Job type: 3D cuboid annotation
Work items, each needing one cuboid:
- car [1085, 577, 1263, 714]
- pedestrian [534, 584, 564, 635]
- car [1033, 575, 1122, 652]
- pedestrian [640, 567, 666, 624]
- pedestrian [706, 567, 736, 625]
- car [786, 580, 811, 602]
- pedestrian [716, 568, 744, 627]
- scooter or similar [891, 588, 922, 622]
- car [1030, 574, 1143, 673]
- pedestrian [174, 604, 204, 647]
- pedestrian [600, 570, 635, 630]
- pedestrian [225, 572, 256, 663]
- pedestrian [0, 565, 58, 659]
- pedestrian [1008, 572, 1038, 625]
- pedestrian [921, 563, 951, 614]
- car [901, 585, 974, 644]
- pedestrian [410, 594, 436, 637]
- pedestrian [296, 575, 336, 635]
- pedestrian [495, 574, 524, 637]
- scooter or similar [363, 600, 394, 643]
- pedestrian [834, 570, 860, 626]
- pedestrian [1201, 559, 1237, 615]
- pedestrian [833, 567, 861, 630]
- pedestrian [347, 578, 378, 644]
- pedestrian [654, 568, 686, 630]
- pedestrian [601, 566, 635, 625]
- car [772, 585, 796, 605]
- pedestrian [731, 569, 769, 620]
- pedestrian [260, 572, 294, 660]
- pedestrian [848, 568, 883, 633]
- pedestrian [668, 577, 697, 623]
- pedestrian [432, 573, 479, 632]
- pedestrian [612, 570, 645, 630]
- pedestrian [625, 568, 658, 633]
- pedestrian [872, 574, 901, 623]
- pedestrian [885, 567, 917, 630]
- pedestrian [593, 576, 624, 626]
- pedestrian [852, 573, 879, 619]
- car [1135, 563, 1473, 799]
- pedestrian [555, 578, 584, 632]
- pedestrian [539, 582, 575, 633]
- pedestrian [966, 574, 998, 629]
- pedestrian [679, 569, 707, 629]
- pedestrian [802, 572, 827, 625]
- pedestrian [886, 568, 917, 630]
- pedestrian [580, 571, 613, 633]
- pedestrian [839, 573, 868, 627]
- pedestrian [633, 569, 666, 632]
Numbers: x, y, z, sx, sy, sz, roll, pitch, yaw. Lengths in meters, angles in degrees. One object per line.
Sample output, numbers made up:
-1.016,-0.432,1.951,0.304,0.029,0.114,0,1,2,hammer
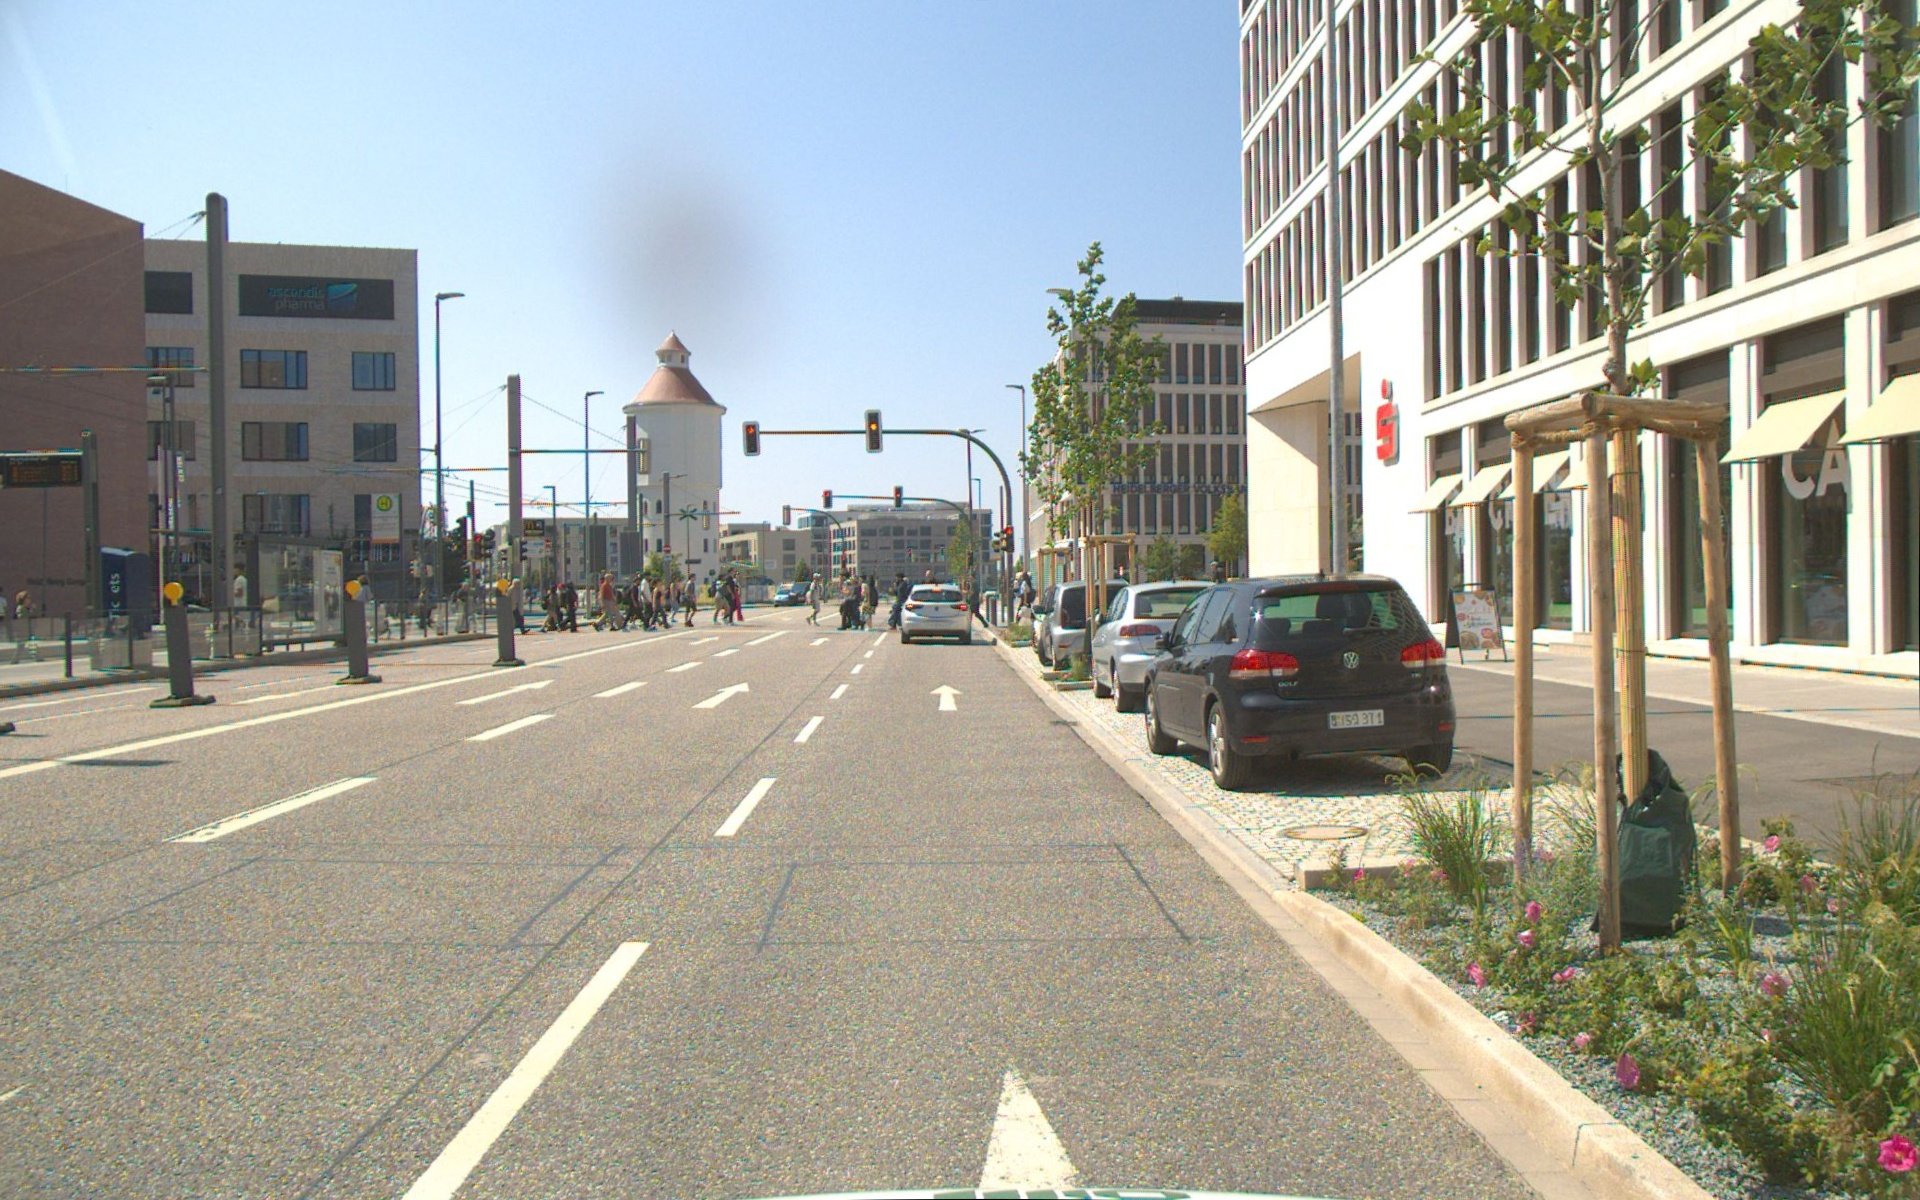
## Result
2.547,0.481,20.470,1.573,1.411,3.814,-4,1,-1,car
-13.277,0.291,53.432,0.713,1.603,0.642,-2,1,4,pedestrian
2.315,0.225,33.281,1.400,1.414,3.999,-2,1,-1,car
-10.463,-0.153,56.434,0.719,1.923,0.714,0,0,4,pedestrian
-8.121,-0.151,56.208,0.824,1.923,0.692,-2,1,0,pedestrian
-11.565,-0.643,118.531,1.555,1.557,3.691,-1,0,-2,car
-7.679,-0.079,55.206,0.750,1.923,0.692,-2,1,0,pedestrian
-1.833,0.163,56.445,0.933,1.137,0.765,-2,1,-11,scooter or similar
2.130,0.357,28.549,1.525,1.497,3.469,-4,1,-1,car
-29.569,0.961,63.429,0.696,1.599,0.890,-2,1,-2,pedestrian
-11.171,-0.012,53.894,0.869,1.923,0.797,-2,1,4,pedestrian
-14.691,0.349,33.793,0.542,1.851,0.596,-1,0,-22,pedestrian
-18.719,0.239,33.146,0.794,1.851,0.825,0,0,-1,pedestrian
2.010,-0.051,52.554,0.750,1.648,0.692,-2,1,16,pedestrian
-0.815,-0.392,56.265,0.872,1.675,0.794,-2,1,-11,pedestrian
-0.535,0.368,41.894,1.735,1.419,3.532,0,0,1,car
-21.506,0.629,66.261,0.659,1.710,0.692,-1,1,40,pedestrian
-21.325,0.166,54.781,0.958,1.923,0.827,-1,0,0,pedestrian
-13.977,0.172,51.317,0.623,1.923,0.796,-2,1,0,pedestrian
-15.032,0.545,42.776,0.494,1.077,0.833,-2,1,-1,scooter or similar
-3.680,-0.074,53.819,0.750,1.764,0.692,-2,1,0,pedestrian
8.047,-0.410,51.382,0.970,1.684,0.692,-2,1,0,pedestrian
-3.542,-0.051,51.895,0.715,1.923,0.821,-2,1,5,pedestrian
-15.128,0.279,41.901,0.494,1.650,0.650,-2,1,-1,pedestrian
-9.137,-0.031,52.074,0.871,1.923,0.691,-2,1,-6,pedestrian
-12.182,-0.159,58.839,1.005,2.048,0.949,-2,1,-19,pedestrian
-14.385,-0.392,135.346,1.554,1.557,3.257,-1,0,0,car
-7.856,-0.206,61.958,1.156,1.852,1.069,-2,1,3,pedestrian
-14.515,0.334,35.144,0.654,1.851,0.718,-1,0,-24,pedestrian
-2.875,-0.002,50.395,0.993,1.923,0.798,-2,1,-4,pedestrian
-10.379,0.010,61.823,0.869,1.675,0.797,-2,1,3,pedestrian
-17.043,0.079,55.890,1.145,1.923,1.060,-2,2,0,pedestrian
-11.029,-0.007,55.013,0.870,1.923,0.796,-2,1,-1,pedestrian
-9.721,0.014,50.446,0.871,1.923,0.691,-2,1,-6,pedestrian
-2.539,-0.065,57.443,0.869,1.675,0.797,-2,1,3,pedestrian
-1.833,-0.045,51.487,0.871,1.923,0.795,-2,1,-6,pedestrian
-12.250,0.042,57.625,0.880,1.703,1.007,-2,1,-19,pedestrian
-3.489,-0.157,61.072,0.869,1.675,0.797,-2,1,3,pedestrian
2.540,0.514,13.165,1.701,1.499,3.979,-3,1,-2,car
-12.260,0.145,51.878,0.620,1.646,0.768,-2,1,5,pedestrian
-13.518,0.231,55.484,0.891,1.665,0.814,-2,1,4,pedestrian
0.690,0.051,51.634,0.871,1.663,0.691,-2,1,-6,pedestrian
-8.766,-0.045,54.390,0.750,1.923,0.692,-2,1,0,pedestrian
-4.933,-0.042,56.182,0.750,1.764,0.692,-2,1,0,pedestrian
-1.859,-0.036,52.336,0.871,1.923,0.795,-2,1,-6,pedestrian
-11.495,0.054,52.311,0.871,1.923,0.691,-2,1,-6,pedestrian
-3.398,-0.003,52.784,0.777,1.675,0.891,-2,1,1,pedestrian
-9.613,0.009,51.222,0.871,1.923,0.691,-2,1,-6,pedestrian
